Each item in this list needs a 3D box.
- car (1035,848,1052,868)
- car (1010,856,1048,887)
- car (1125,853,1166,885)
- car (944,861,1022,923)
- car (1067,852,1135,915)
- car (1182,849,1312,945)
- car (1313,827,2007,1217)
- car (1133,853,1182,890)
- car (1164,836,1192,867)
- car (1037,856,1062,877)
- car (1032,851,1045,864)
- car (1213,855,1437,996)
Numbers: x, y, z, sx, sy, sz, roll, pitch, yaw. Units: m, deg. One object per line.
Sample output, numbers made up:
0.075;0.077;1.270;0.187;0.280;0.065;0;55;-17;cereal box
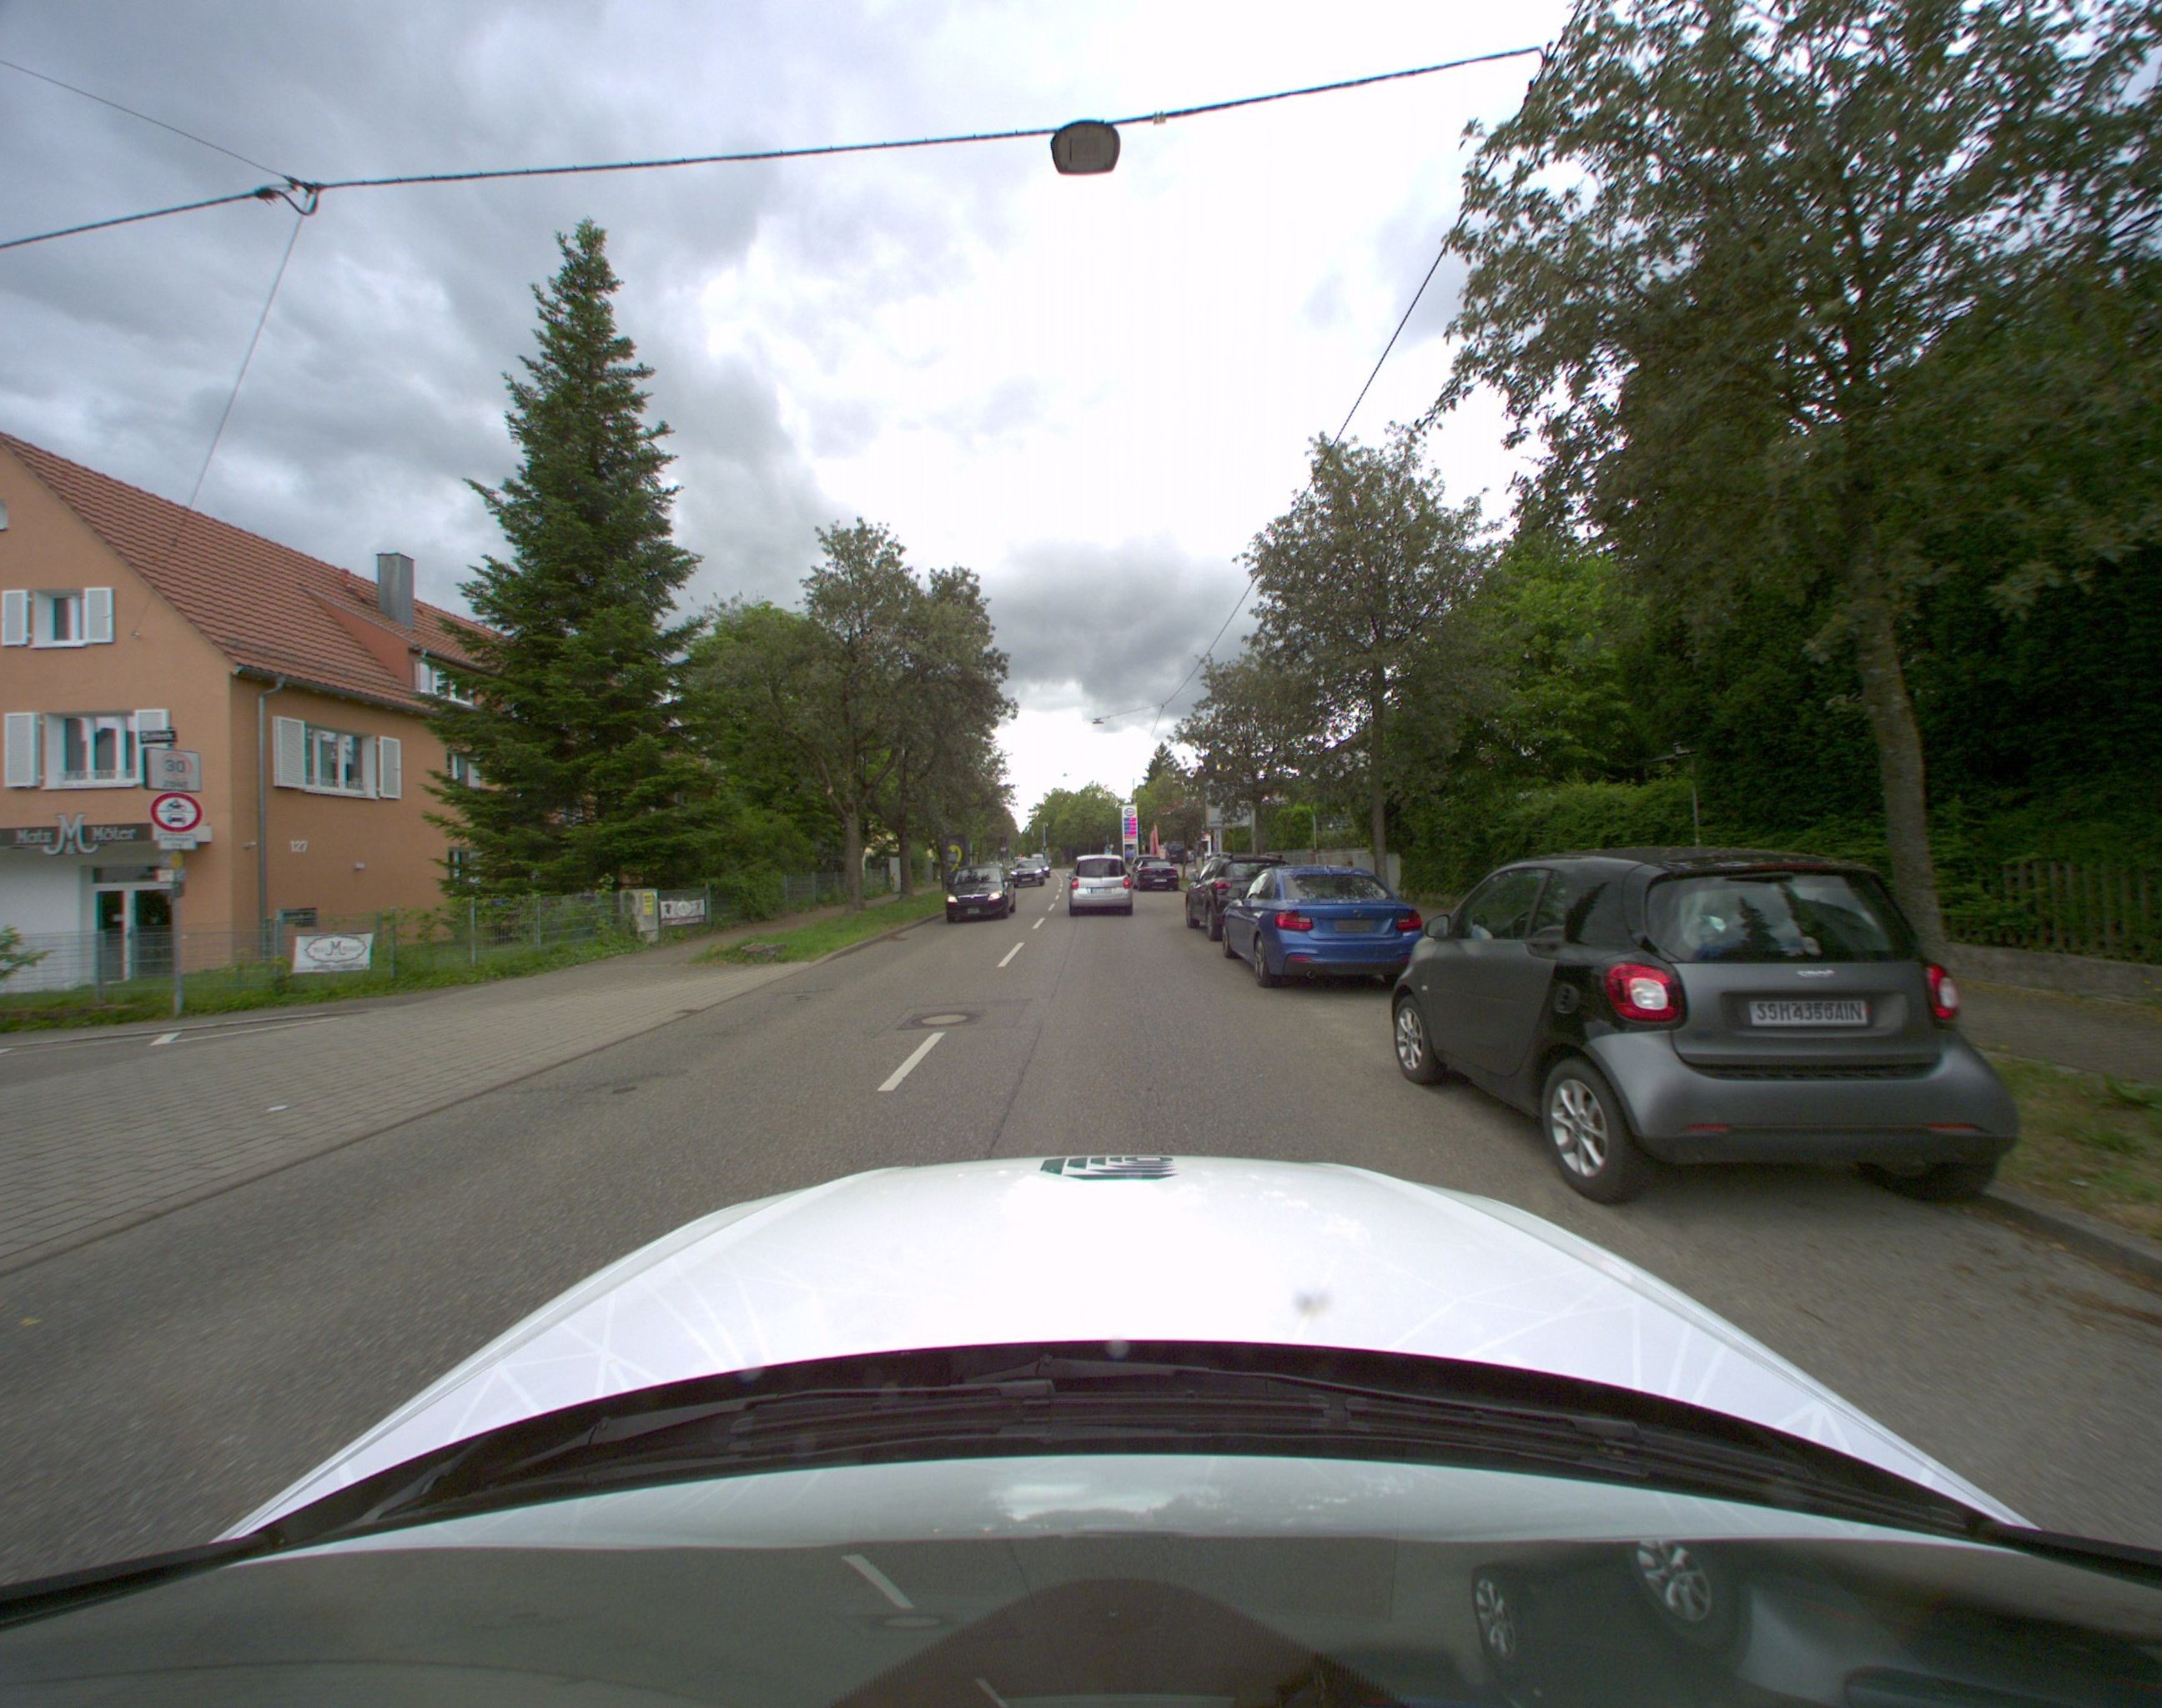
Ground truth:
-4.628;0.518;102.015;1.929;2.408;3.998;-2;0;-1;car
-2.914;0.963;46.302;1.788;1.555;3.671;-5;0;0;car
3.281;0.754;41.948;1.691;1.506;3.642;-2;0;-2;car
-2.652;0.983;22.832;1.539;1.470;3.744;-4;0;2;car
0.540;0.731;22.217;1.673;1.560;3.512;-1;0;1;car
3.091;0.749;15.940;1.690;1.570;3.954;2;0;0;car
2.916;0.707;5.276;1.690;1.557;3.954;1;-1;0;car
3.358;0.740;36.482;1.691;1.506;3.970;-2;0;-2;car
9.639;-0.241;81.631;2.273;2.911;5.280;-1;0;1;car
-2.429;0.965;64.113;1.689;1.506;3.645;-2;0;1;car
-6.976;0.593;133.953;1.734;2.013;4.001;-2;0;1;car
2.910;0.753;10.719;1.691;1.433;4.340;-2;0;1;car
